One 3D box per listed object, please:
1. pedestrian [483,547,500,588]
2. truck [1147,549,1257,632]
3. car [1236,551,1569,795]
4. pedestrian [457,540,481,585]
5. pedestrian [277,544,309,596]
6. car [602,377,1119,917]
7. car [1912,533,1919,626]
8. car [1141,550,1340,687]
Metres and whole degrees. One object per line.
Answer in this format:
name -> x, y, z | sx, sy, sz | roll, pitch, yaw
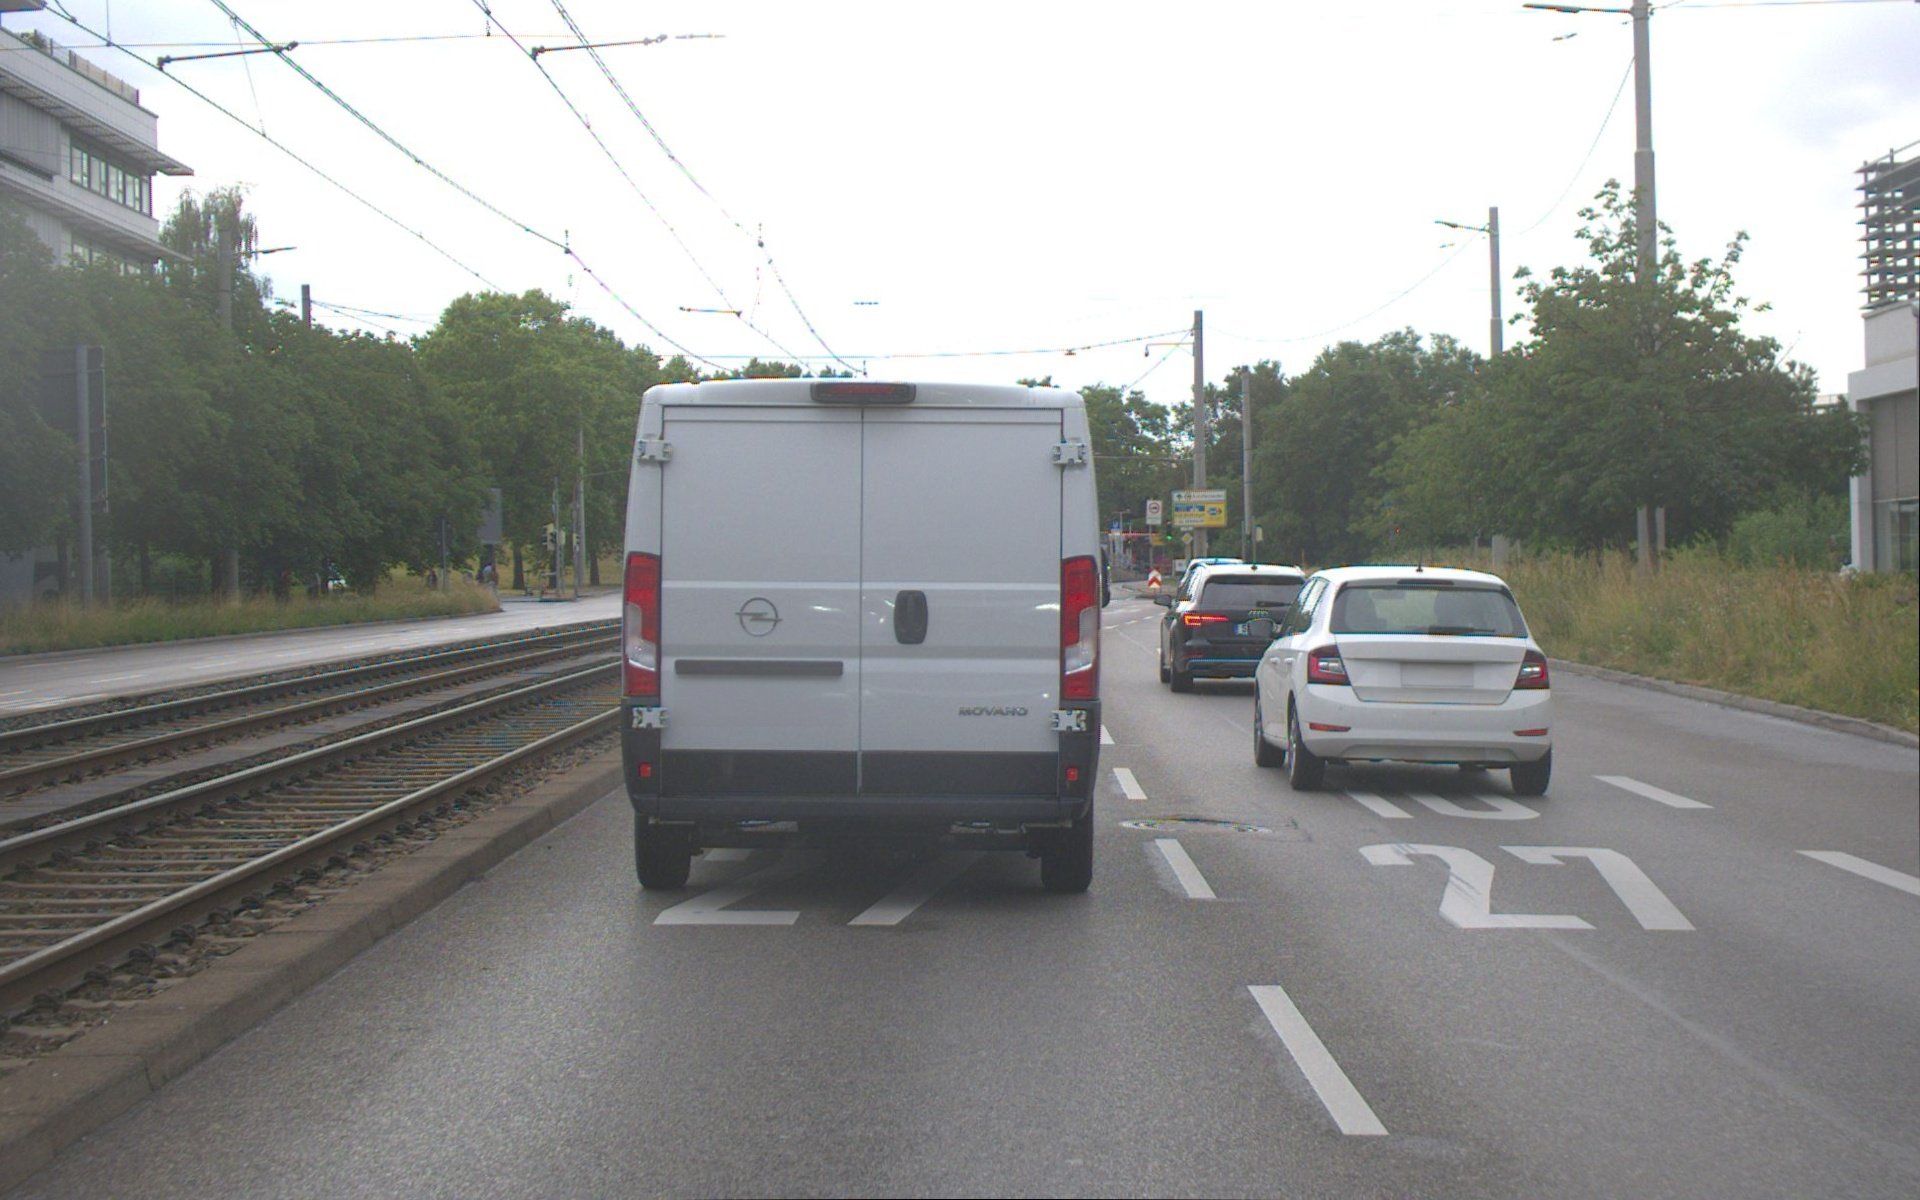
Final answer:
pedestrian -> -20.549, -1.438, 150.741 | 0.506, 1.781, 0.832 | 2, 1, 6
truck -> 5.426, -0.241, 77.640 | 1.993, 1.784, 4.414 | -1, 1, -2
car -> 2.899, 0.428, 23.219 | 1.746, 1.452, 3.671 | 1, 1, 0
pedestrian -> -21.901, -1.667, 153.218 | 0.887, 2.007, 0.866 | -1, 1, 2
pedestrian -> -25.976, -1.178, 133.886 | 0.887, 2.007, 0.945 | -1, 1, 17
car -> -0.417, 0.142, 16.684 | 2.090, 2.189, 5.061 | 1, 1, 0
car -> 18.500, -0.461, 58.134 | 4.610, 1.563, 1.852 | -3, 0, -29
car -> 3.080, 0.180, 38.470 | 1.789, 1.444, 4.000 | 0, 1, -1
